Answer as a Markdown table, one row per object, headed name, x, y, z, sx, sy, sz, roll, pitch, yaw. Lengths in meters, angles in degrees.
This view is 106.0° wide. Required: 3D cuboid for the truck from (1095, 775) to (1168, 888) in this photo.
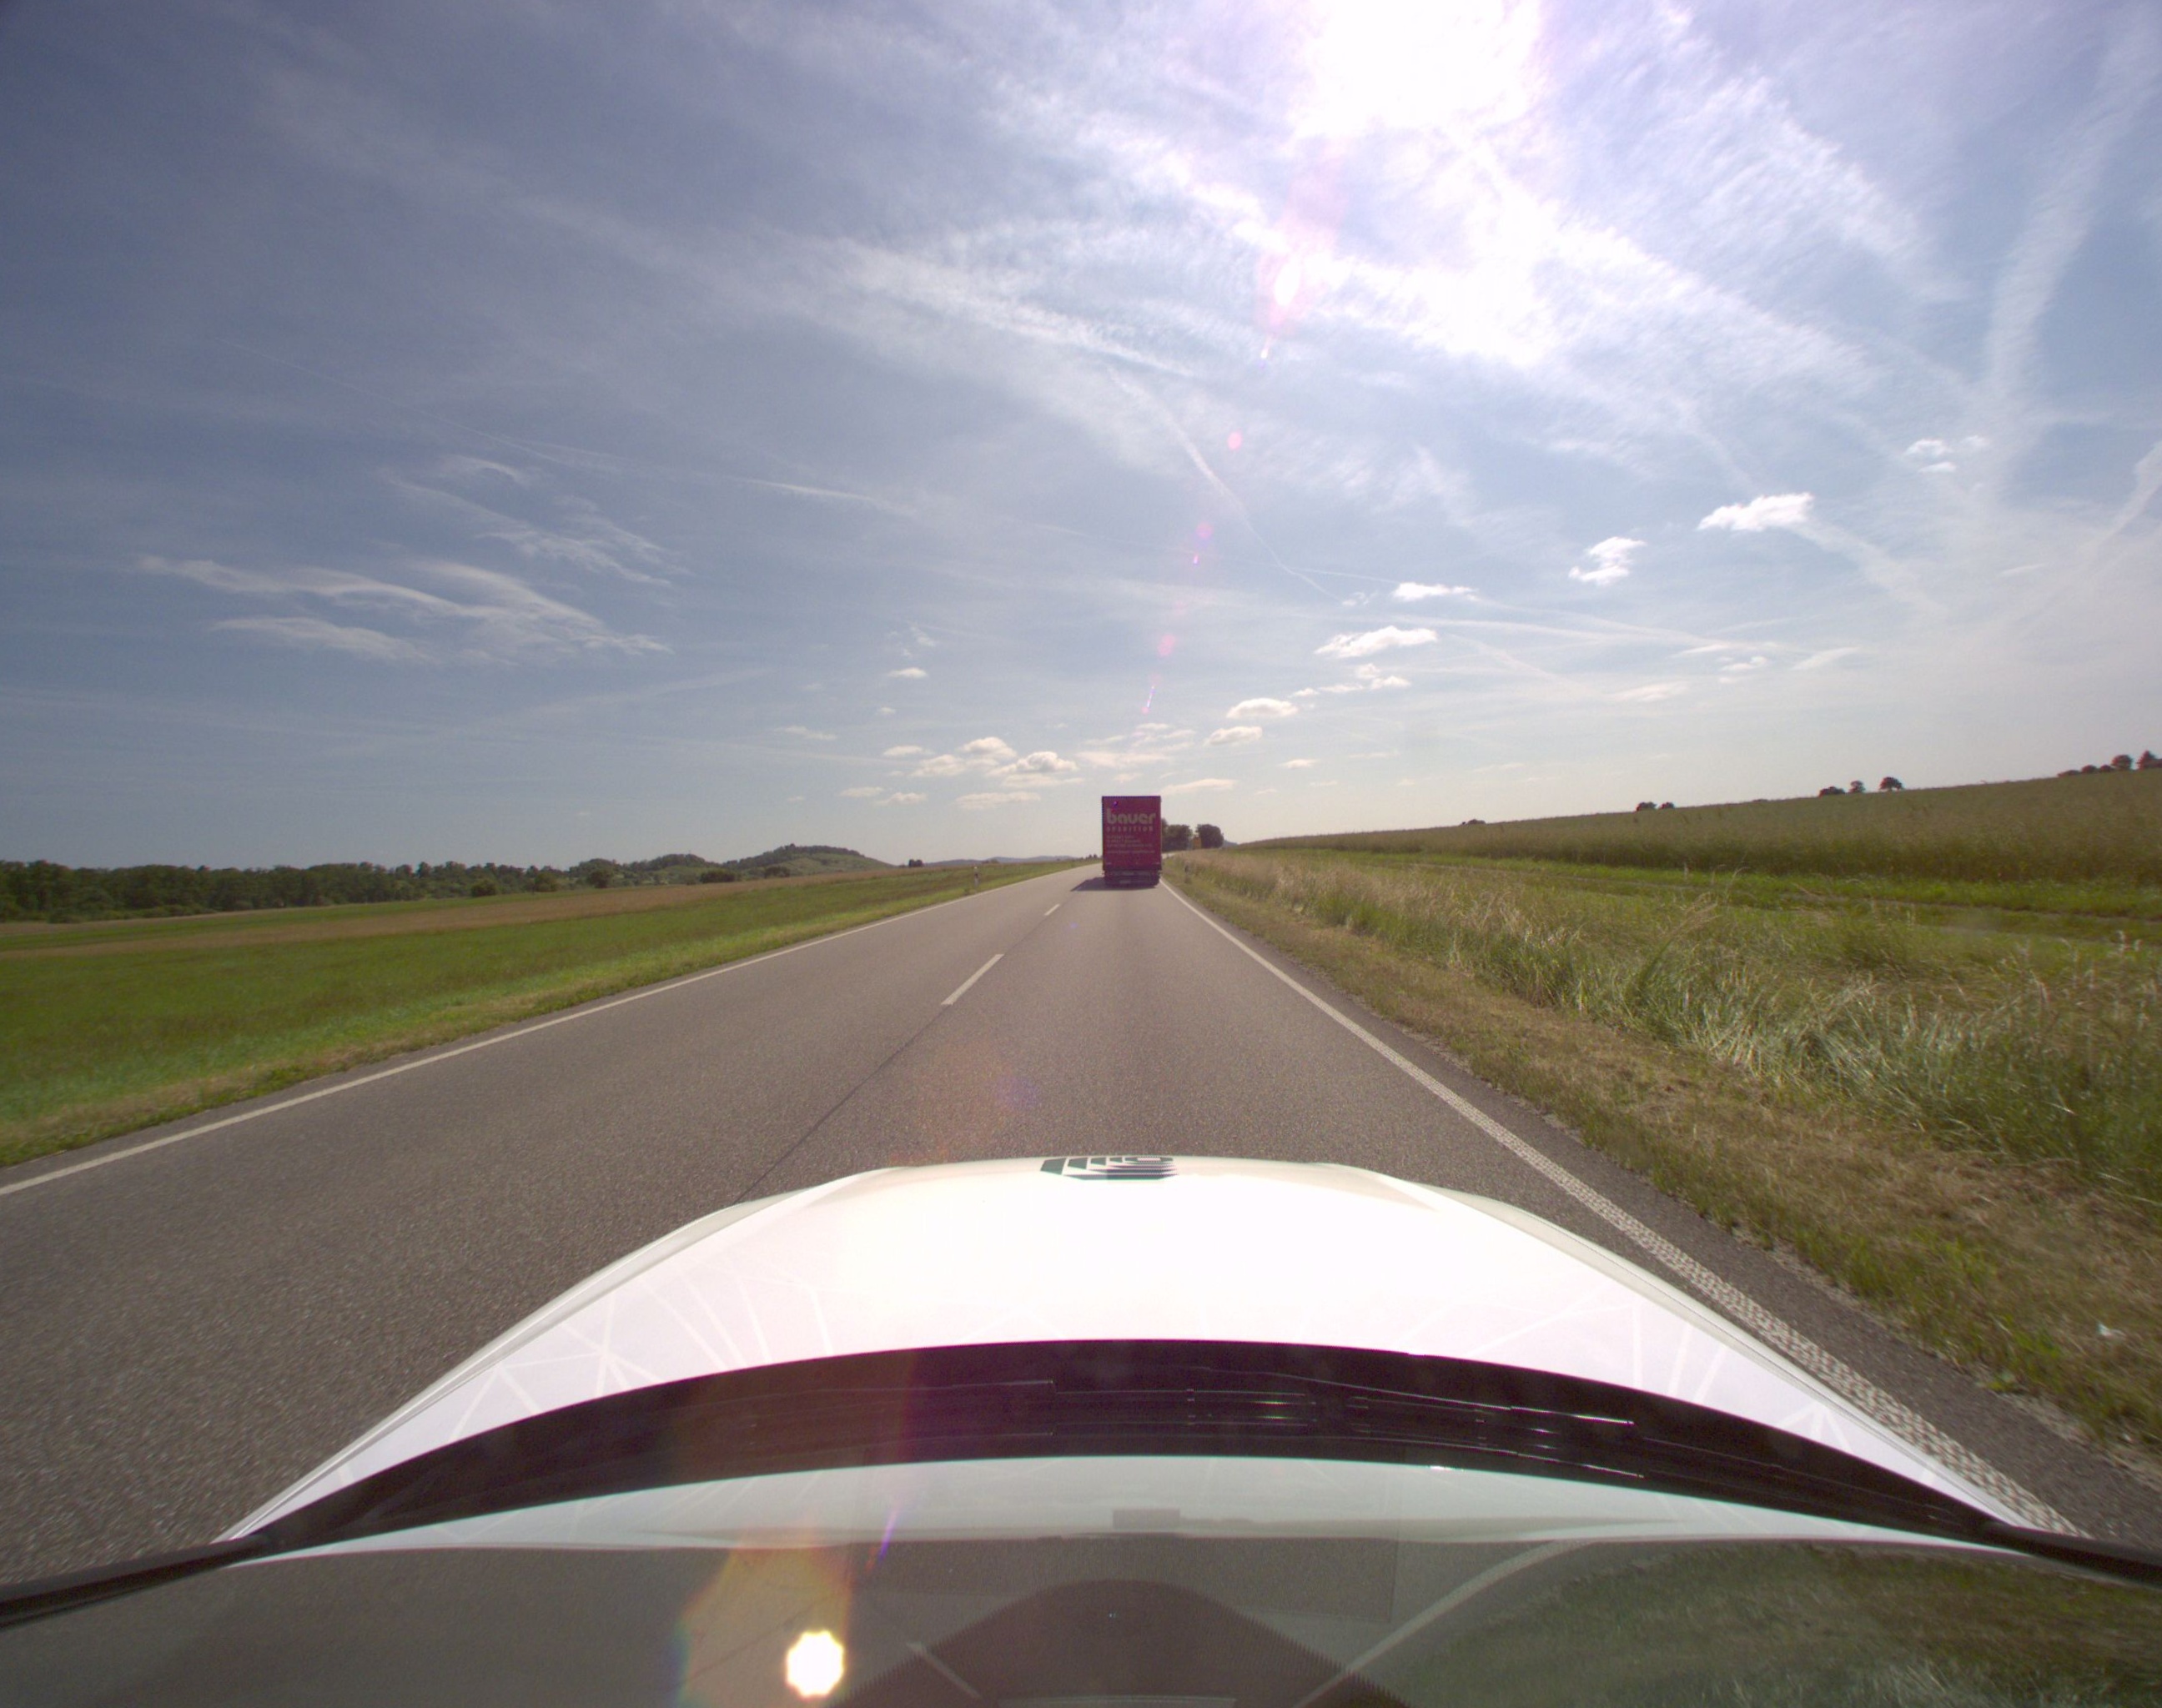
| name | x | y | z | sx | sy | sz | roll | pitch | yaw |
| --- | --- | --- | --- | --- | --- | --- | --- | --- | --- |
| truck | 2.513 | -0.965 | 39.181 | 2.961 | 4.713 | 9.378 | -1 | 0 | 5 |
